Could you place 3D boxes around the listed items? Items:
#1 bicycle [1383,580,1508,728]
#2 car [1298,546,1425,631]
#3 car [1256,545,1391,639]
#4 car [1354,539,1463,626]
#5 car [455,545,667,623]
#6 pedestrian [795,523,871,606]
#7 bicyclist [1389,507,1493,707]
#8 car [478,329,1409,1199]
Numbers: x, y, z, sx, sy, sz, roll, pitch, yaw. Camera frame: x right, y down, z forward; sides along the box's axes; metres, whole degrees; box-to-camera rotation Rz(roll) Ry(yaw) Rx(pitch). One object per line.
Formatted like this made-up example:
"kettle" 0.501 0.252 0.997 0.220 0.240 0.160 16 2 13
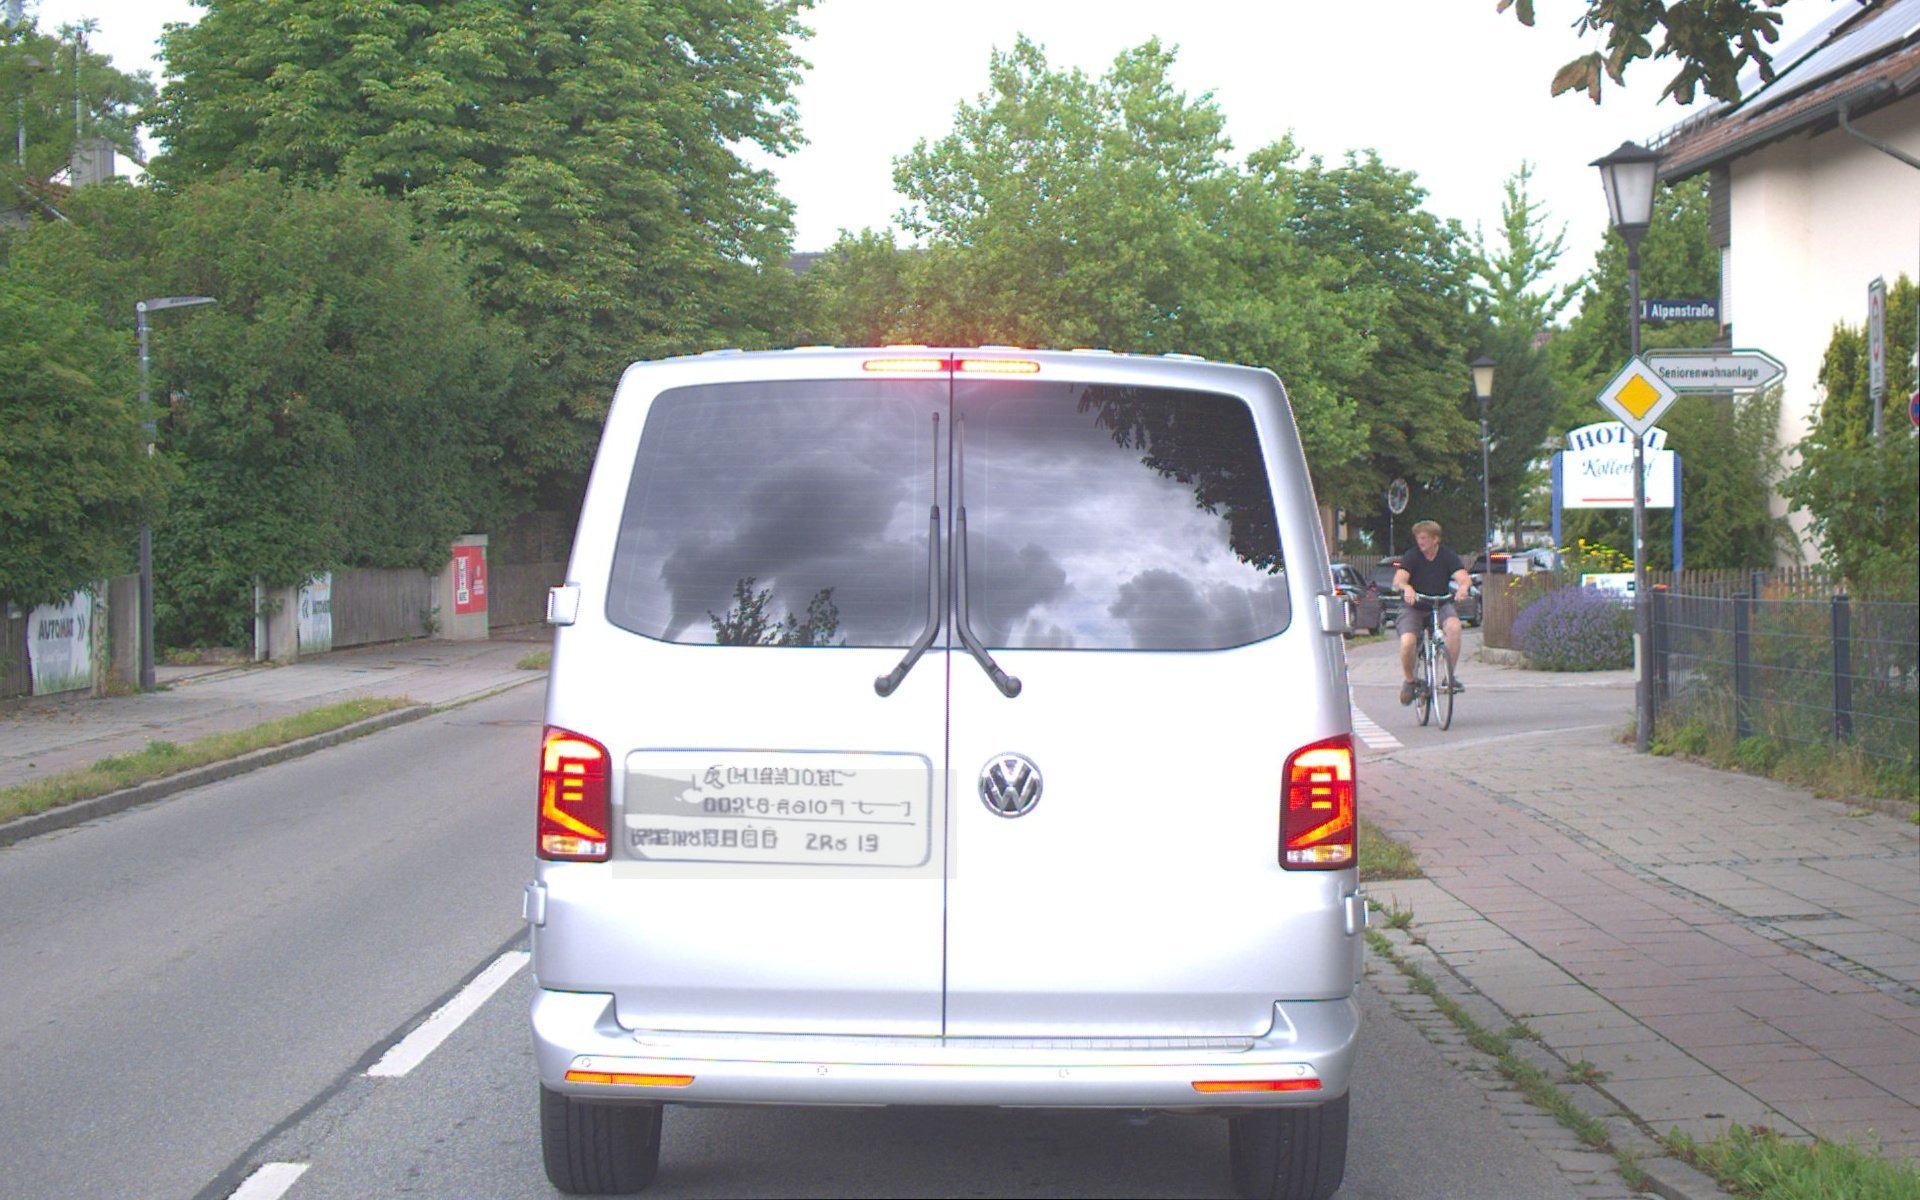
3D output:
"bicycle" 4.011 0.429 28.525 0.764 1.139 1.845 -2 1 1
"car" 7.554 -0.234 64.431 1.882 1.530 3.918 0 1 14
"car" 6.203 -0.162 58.327 1.882 1.530 3.919 0 1 12
"car" 9.320 -0.385 71.208 1.882 1.742 4.078 0 1 12
"car" -7.686 -0.314 66.145 3.986 1.481 2.001 0 1 -8
"pedestrian" -2.779 -0.784 75.168 1.068 1.796 1.320 1 1 36
"bicyclist" 3.985 0.051 28.516 0.736 1.627 0.890 0 1 1
"car" -0.015 0.393 8.947 1.881 1.934 3.921 0 1 1
